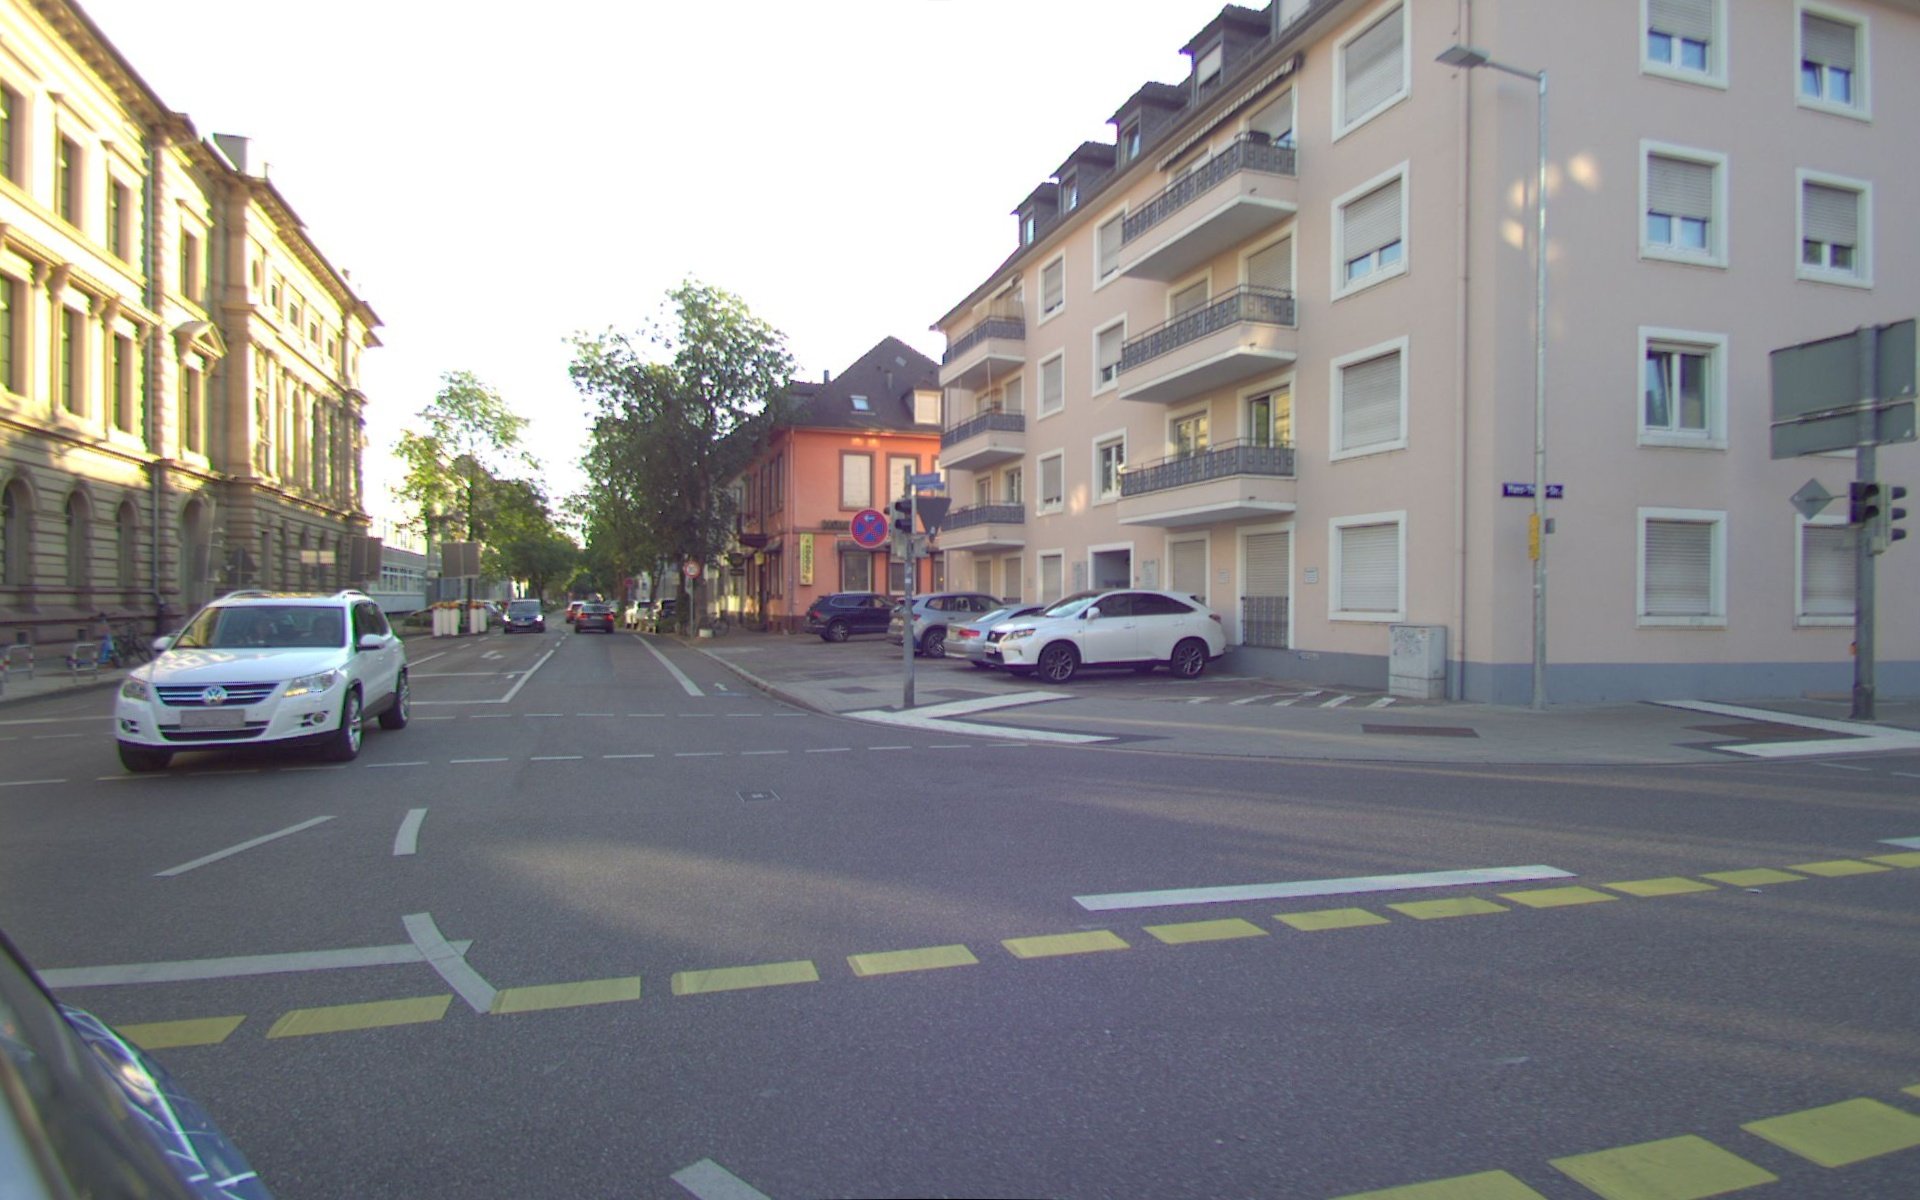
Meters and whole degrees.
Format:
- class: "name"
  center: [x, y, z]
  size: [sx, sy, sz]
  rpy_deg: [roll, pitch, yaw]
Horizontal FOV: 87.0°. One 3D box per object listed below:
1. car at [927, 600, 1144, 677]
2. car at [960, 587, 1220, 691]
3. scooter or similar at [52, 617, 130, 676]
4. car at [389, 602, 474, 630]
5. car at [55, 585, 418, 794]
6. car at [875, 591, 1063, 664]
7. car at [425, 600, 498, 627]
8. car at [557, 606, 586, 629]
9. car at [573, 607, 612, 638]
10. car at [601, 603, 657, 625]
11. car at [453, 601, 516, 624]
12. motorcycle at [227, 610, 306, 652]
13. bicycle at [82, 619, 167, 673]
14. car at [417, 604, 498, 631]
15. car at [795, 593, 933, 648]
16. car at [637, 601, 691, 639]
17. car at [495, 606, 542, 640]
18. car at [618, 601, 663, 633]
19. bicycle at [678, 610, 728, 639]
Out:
- class: "car"
  center: [1.602, 0.773, 21.541]
  size: [4.206, 1.391, 1.741]
  rpy_deg: [-2, 0, -21]
- class: "car"
  center: [2.424, 0.662, 18.999]
  size: [4.378, 1.653, 1.948]
  rpy_deg: [-2, 0, -21]
- class: "scooter or similar"
  center: [-18.529, 0.981, 21.587]
  size: [1.117, 1.204, 0.584]
  rpy_deg: [2, -1, -1]
- class: "car"
  center: [-31.278, 0.958, 60.069]
  size: [4.295, 1.475, 1.840]
  rpy_deg: [3, -1, -23]
- class: "car"
  center: [-7.185, 0.732, 10.673]
  size: [1.924, 1.689, 4.557]
  rpy_deg: [0, 0, -20]
- class: "car"
  center: [0.221, 0.654, 25.785]
  size: [4.356, 1.617, 1.922]
  rpy_deg: [-2, 0, -21]
- class: "car"
  center: [-33.846, 0.933, 68.840]
  size: [4.295, 1.655, 2.061]
  rpy_deg: [3, -1, -22]
- class: "car"
  center: [-27.699, 1.240, 72.064]
  size: [1.805, 1.557, 4.863]
  rpy_deg: [1, -1, -22]
- class: "car"
  center: [-18.328, 1.092, 50.485]
  size: [1.757, 1.470, 4.437]
  rpy_deg: [1, 0, -20]
- class: "car"
  center: [-26.494, 1.077, 80.944]
  size: [4.159, 1.702, 1.807]
  rpy_deg: [0, 0, -22]
- class: "car"
  center: [-37.181, 1.000, 79.240]
  size: [4.295, 1.636, 1.739]
  rpy_deg: [2, -1, -22]
- class: "motorcycle"
  center: [-21.433, 0.953, 31.284]
  size: [2.081, 1.224, 0.708]
  rpy_deg: [2, -1, 11]
- class: "bicycle"
  center: [-18.925, 1.019, 22.969]
  size: [0.815, 1.143, 1.950]
  rpy_deg: [3, -1, -19]
- class: "car"
  center: [-31.192, 1.103, 62.896]
  size: [4.296, 1.506, 1.678]
  rpy_deg: [3, -1, -20]
- class: "car"
  center: [-3.321, 0.678, 34.935]
  size: [4.356, 1.678, 1.870]
  rpy_deg: [-2, 0, -21]
- class: "car"
  center: [-15.567, 1.008, 52.985]
  size: [1.802, 1.772, 5.065]
  rpy_deg: [-4, 2, -26]
- class: "car"
  center: [-21.374, 1.069, 49.074]
  size: [1.918, 1.567, 4.013]
  rpy_deg: [0, -1, -21]
- class: "car"
  center: [-19.177, 0.988, 60.677]
  size: [1.802, 1.680, 4.672]
  rpy_deg: [-4, 2, -26]
- class: "bicycle"
  center: [-10.378, 0.990, 40.852]
  size: [1.840, 1.112, 0.612]
  rpy_deg: [0, 0, -26]
